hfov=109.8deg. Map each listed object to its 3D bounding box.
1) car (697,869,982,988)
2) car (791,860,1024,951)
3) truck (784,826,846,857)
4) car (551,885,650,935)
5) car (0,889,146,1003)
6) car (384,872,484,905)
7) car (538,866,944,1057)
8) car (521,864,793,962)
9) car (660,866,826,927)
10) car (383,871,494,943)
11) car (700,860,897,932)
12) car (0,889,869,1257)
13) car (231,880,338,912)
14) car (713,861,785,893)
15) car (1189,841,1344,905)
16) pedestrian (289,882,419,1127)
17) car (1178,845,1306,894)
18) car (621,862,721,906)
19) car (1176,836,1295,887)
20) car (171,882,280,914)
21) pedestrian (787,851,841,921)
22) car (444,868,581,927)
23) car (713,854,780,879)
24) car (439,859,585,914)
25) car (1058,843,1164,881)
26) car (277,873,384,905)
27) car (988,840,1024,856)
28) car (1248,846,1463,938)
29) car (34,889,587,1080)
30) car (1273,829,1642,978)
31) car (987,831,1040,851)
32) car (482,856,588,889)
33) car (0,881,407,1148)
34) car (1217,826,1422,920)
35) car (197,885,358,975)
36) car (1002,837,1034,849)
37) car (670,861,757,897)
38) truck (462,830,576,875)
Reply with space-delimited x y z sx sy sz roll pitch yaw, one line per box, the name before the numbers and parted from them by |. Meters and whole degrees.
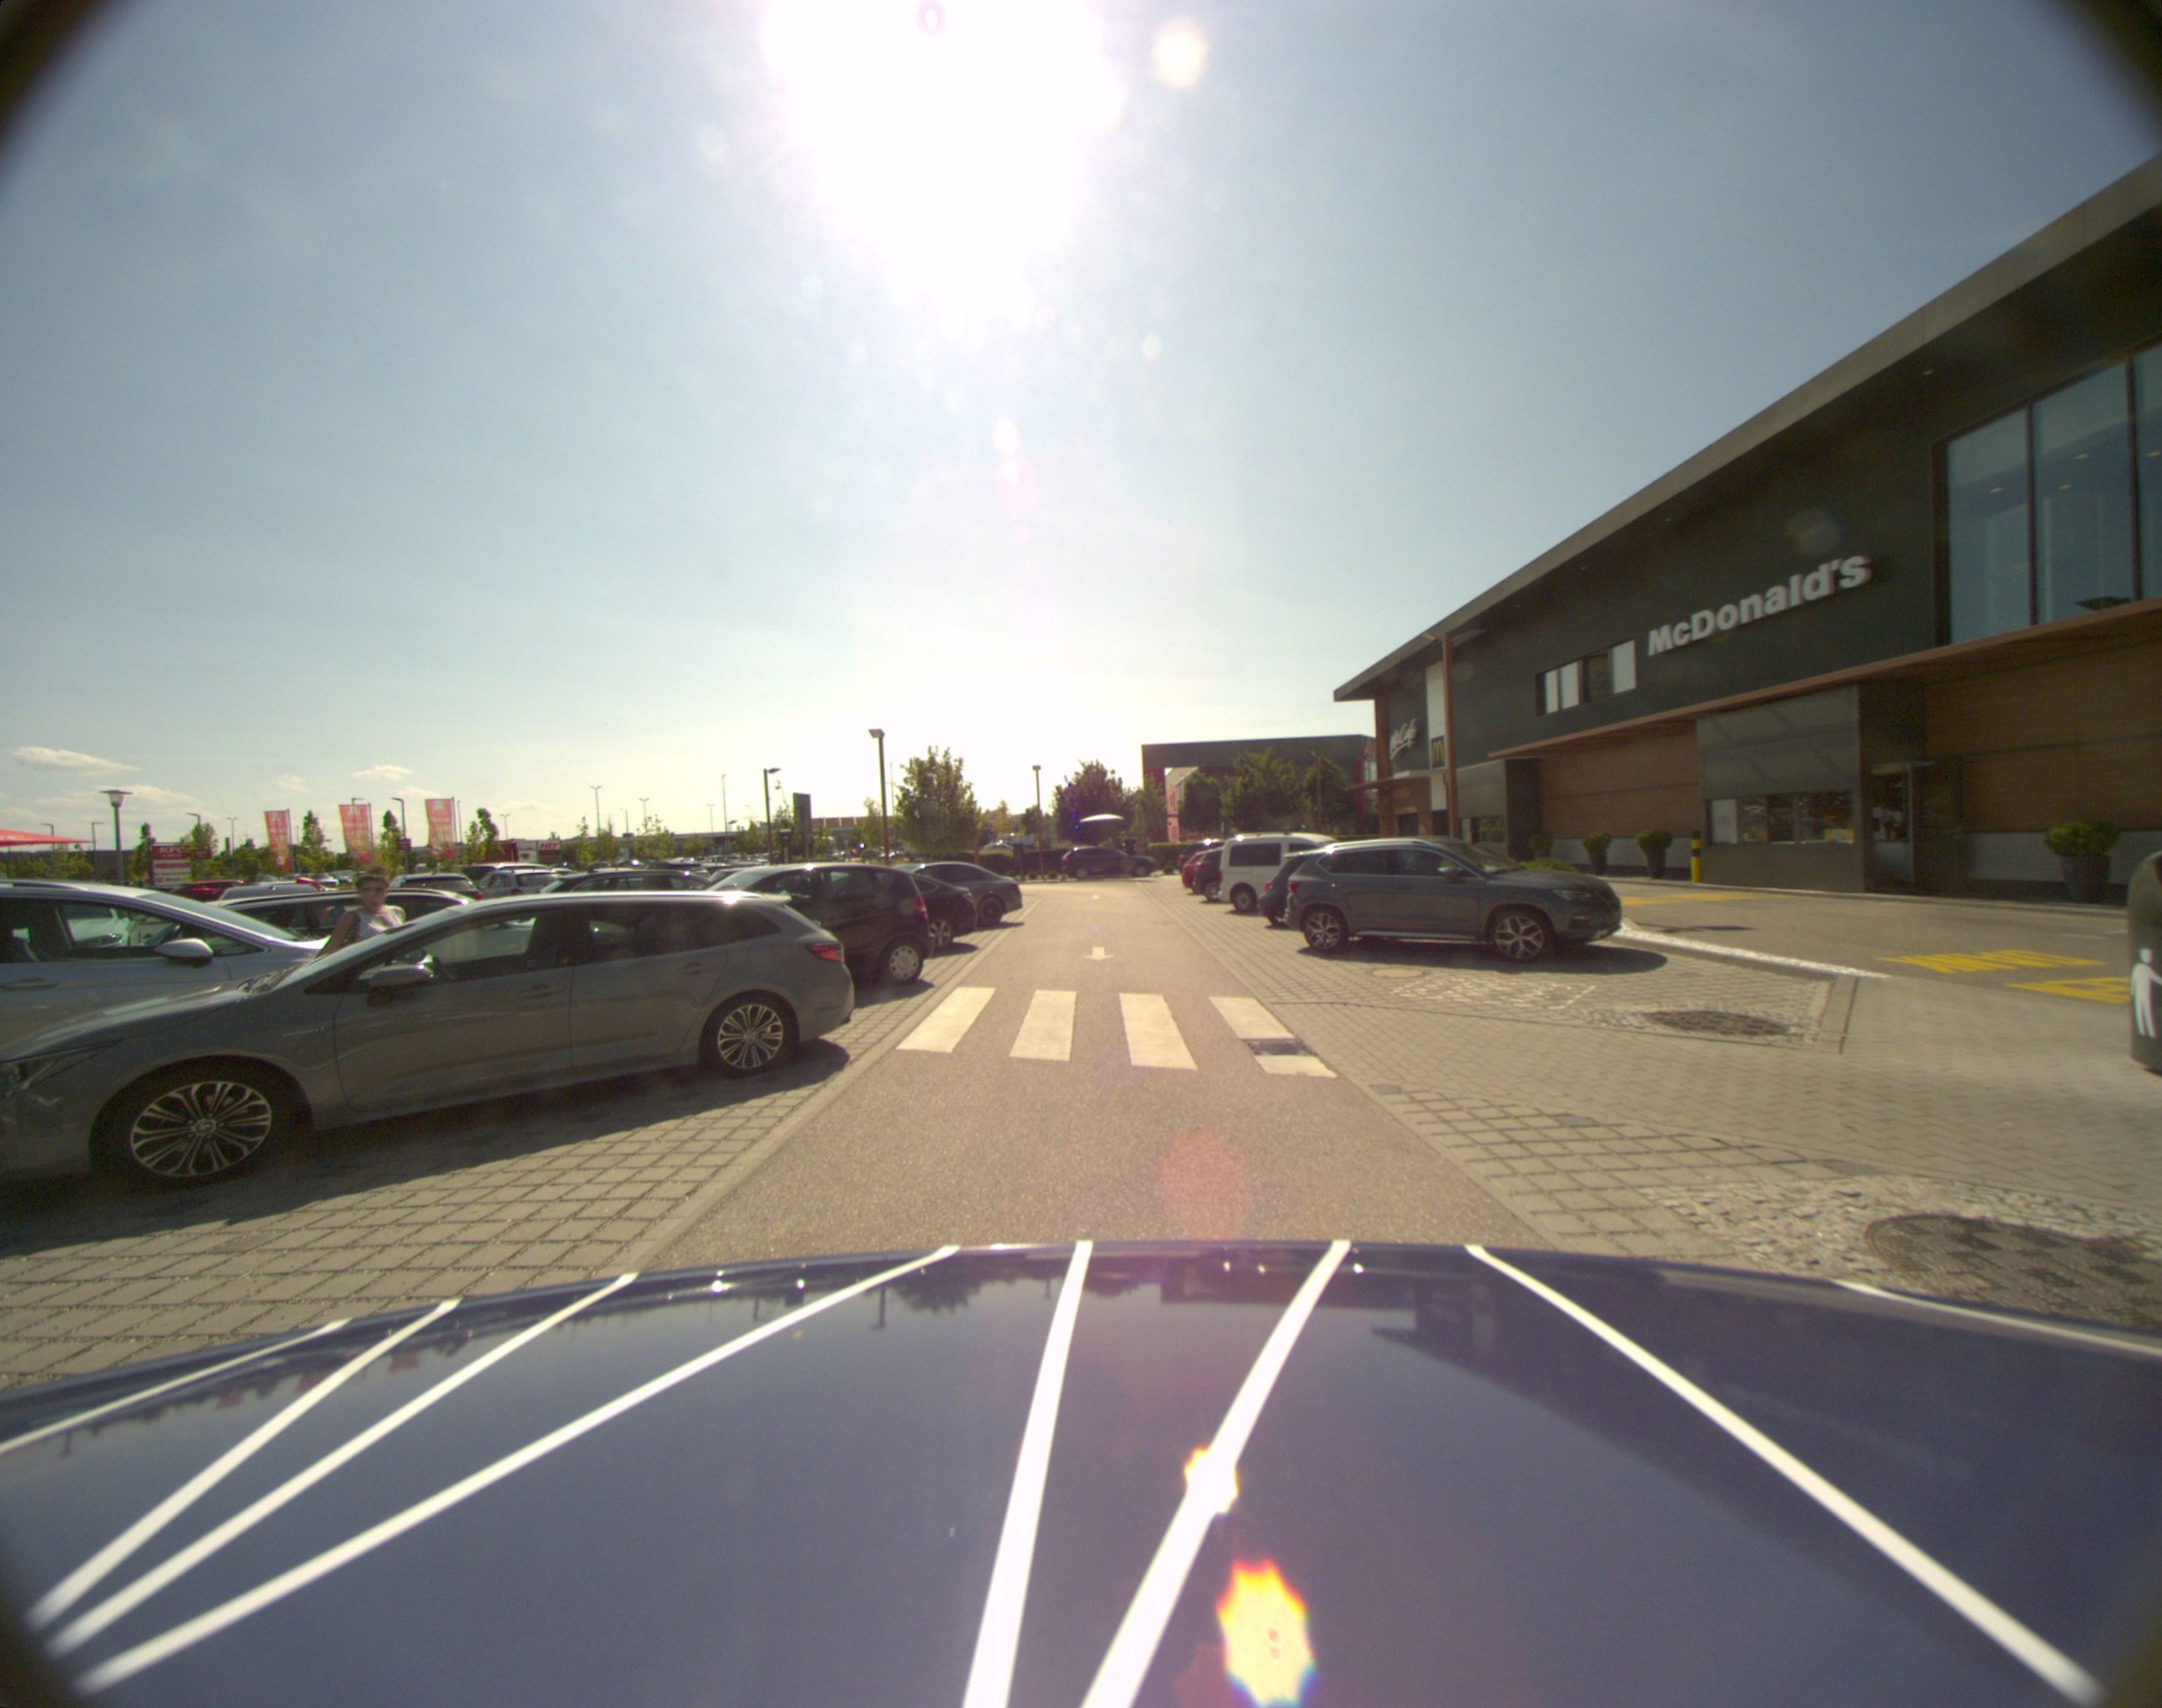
car | -3.882 1.083 12.650 4.083 1.440 1.823 -3 2 -43
car | -3.625 1.001 16.494 4.551 1.502 1.882 -3 2 -43
truck | -30.089 -1.359 85.831 7.544 3.333 2.426 -1 2 34
car | -16.344 1.825 25.733 4.669 1.403 1.715 -1 2 44
car | -16.798 1.401 12.267 4.459 1.463 1.918 -1 1 41
car | -34.276 1.803 40.388 1.685 1.445 3.757 -2 1 9
car | -3.885 1.035 9.096 4.007 1.584 1.807 -3 2 -42
car | -8.498 1.058 15.491 4.425 1.502 1.978 -3 2 -43
car | -9.516 1.133 21.540 3.911 1.418 1.702 -3 1 -41
car | -15.953 1.214 18.787 1.824 1.480 3.989 -3 2 -43
car | -7.401 1.017 20.184 4.425 1.502 1.978 -3 2 -43
car | -4.106 1.086 5.357 4.672 1.438 1.830 -1 0 -42
car | -44.146 2.282 42.240 1.685 1.445 3.757 -2 1 9
car | -16.317 1.118 37.303 3.765 1.414 1.917 -1 1 45
car | 5.199 0.526 21.427 3.834 1.623 1.761 -1 1 35
pedestrian | -5.531 1.090 5.819 0.564 1.703 0.609 -3 2 -36
car | 5.304 0.528 25.124 3.763 1.435 1.678 -2 1 29
car | -16.123 1.139 29.799 4.044 1.547 1.810 -1 1 36
car | 5.759 0.273 28.354 4.030 1.696 1.677 -2 1 24
car | -48.590 2.461 43.261 1.685 1.503 3.757 -2 1 9
pedestrian | -7.602 0.907 21.664 1.027 1.905 0.903 -2 1 13
car | -16.813 1.248 22.430 4.340 1.503 1.782 -2 1 33
car | -29.263 1.108 66.466 5.013 2.002 2.001 -2 2 12
car | -21.448 1.171 28.902 2.070 1.740 4.367 -2 1 2
car | 1.465 0.368 37.738 5.061 1.620 1.924 -2 1 -1
car | -40.056 1.833 40.680 1.685 1.445 3.757 -2 1 9
car | -8.879 -0.685 90.200 3.998 1.718 1.893 -2 1 -3
car | 5.075 0.673 14.232 3.406 1.473 1.571 -2 1 39
car | -8.325 1.246 8.748 4.090 1.400 1.788 -2 1 -44
car | 5.104 0.644 10.725 1.793 1.594 4.217 -6 2 -44
car | -8.726 -1.673 98.387 6.567 2.231 2.300 -2 1 1
car | -27.108 0.880 37.917 1.886 1.390 4.157 -2 1 9
car | -7.771 1.137 5.598 4.075 1.630 1.743 -3 1 -44
car | 5.454 0.408 17.642 4.133 1.910 1.761 -1 2 41
car | -16.096 1.422 15.430 1.824 1.395 3.989 -3 1 -41
car | -7.890 -1.428 95.382 3.905 1.334 1.665 -2 1 1
car | -16.179 1.096 33.386 4.075 1.414 1.801 -1 1 39
truck | -52.561 -0.117 71.074 9.114 3.844 3.213 -2 1 13
